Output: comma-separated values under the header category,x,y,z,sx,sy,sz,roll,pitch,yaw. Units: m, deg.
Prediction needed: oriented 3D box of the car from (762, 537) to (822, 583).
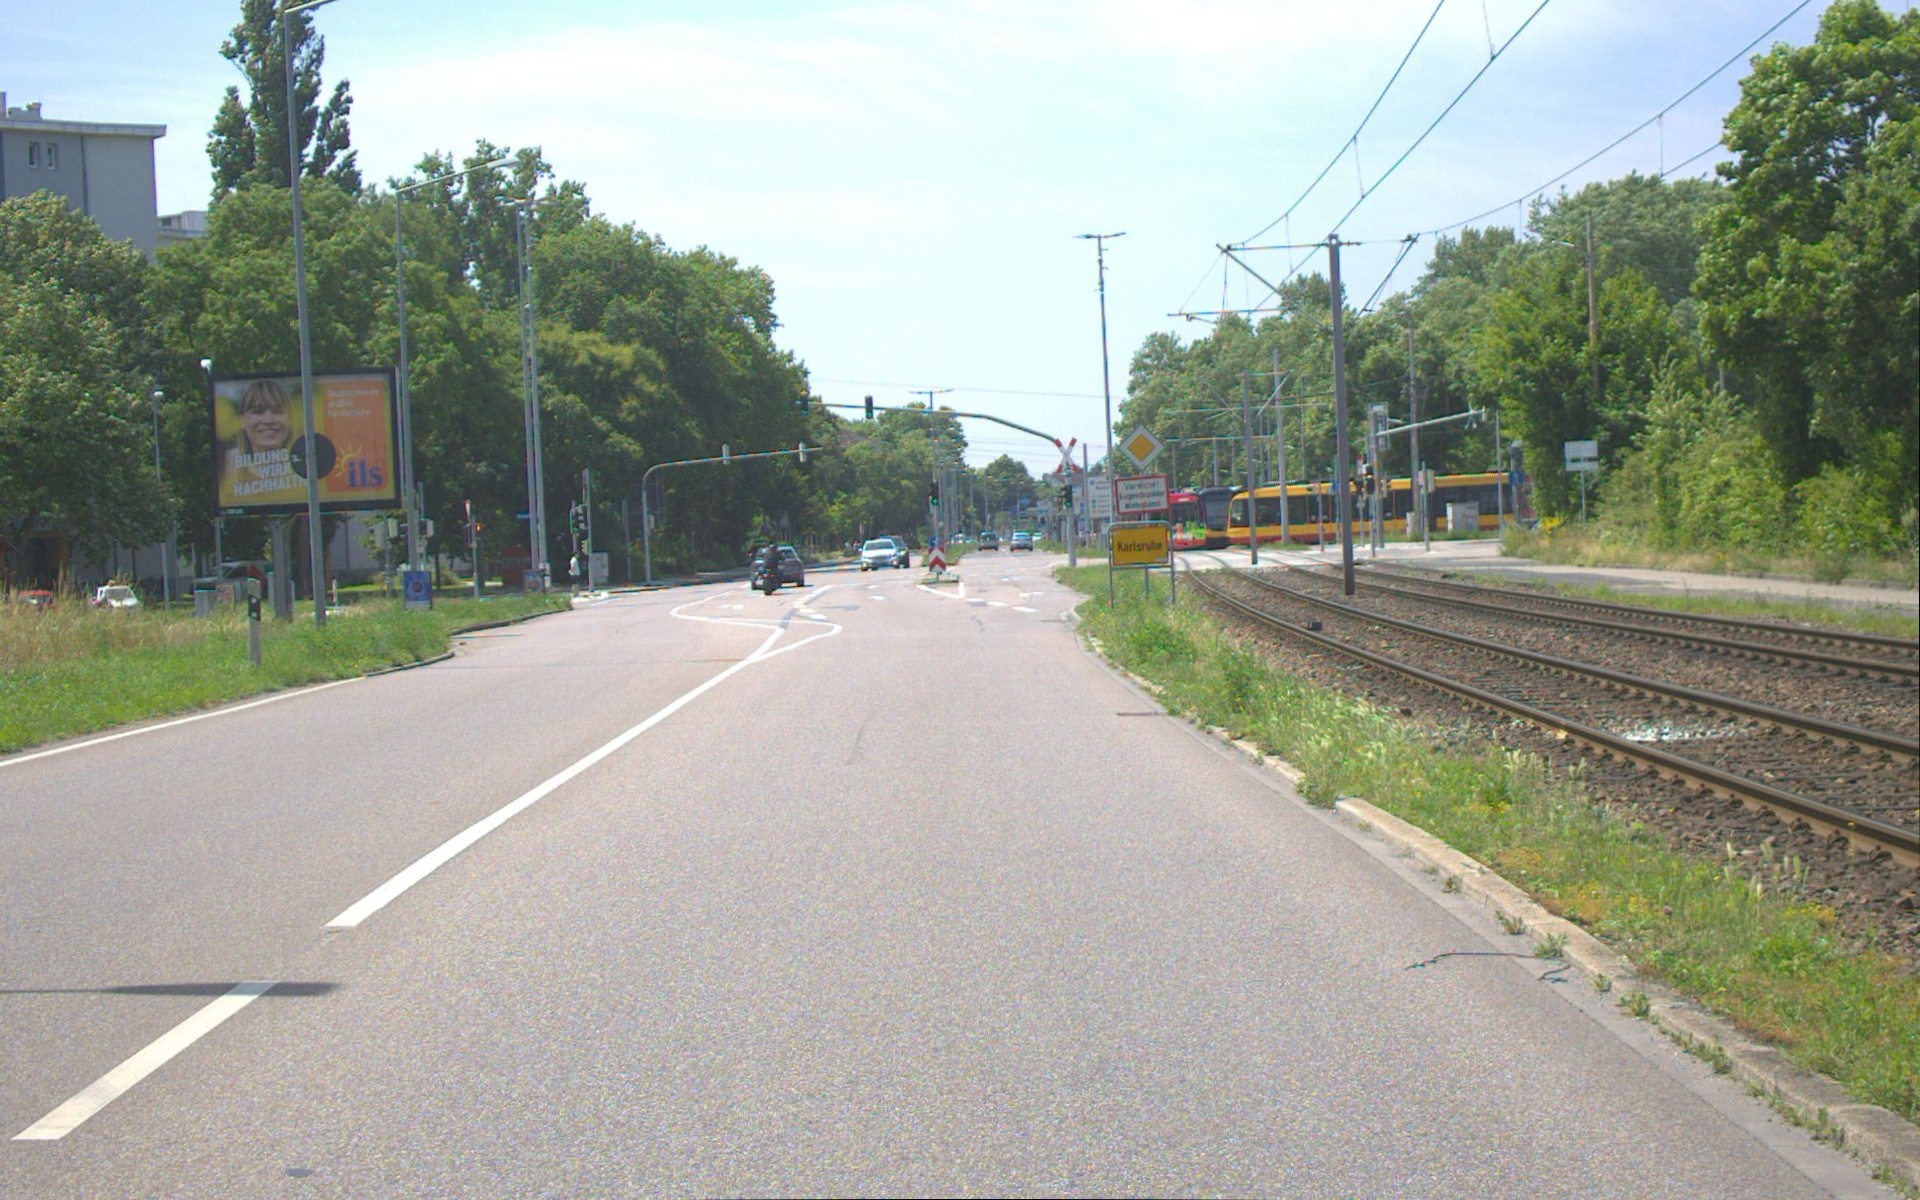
category,x,y,z,sx,sy,sz,roll,pitch,yaw
car,-5.749,-1.398,118.055,1.906,1.493,4.630,-1,1,-1

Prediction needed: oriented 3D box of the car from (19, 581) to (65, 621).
category,x,y,z,sx,sy,sz,roll,pitch,yaw
car,-35.375,0.024,132.437,1.617,1.459,4.001,-2,1,-15

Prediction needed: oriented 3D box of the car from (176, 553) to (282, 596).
category,x,y,z,sx,sy,sz,roll,pitch,yaw
car,-33.781,-1.189,158.916,1.790,1.762,4.538,-2,1,41

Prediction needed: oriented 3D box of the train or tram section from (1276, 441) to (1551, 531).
category,x,y,z,sx,sy,sz,roll,pitch,yaw
train or tram section,23.767,-5.930,180.746,14.016,3.906,2.919,-2,-2,27

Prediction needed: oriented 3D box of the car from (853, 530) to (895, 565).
category,x,y,z,sx,sy,sz,roll,pitch,yaw
car,-4.156,-2.547,166.181,1.784,1.623,3.865,-3,1,1

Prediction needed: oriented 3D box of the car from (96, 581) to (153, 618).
category,x,y,z,sx,sy,sz,roll,pitch,yaw
car,-32.574,-0.031,133.961,1.624,1.375,4.001,-2,1,-21

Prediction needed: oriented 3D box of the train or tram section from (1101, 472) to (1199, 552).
category,x,y,z,sx,sy,sz,roll,pitch,yaw
train or tram section,10.860,-5.007,197.809,2.913,3.799,13.076,-1,-2,-9

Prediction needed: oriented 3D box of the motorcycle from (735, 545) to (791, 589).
category,x,y,z,sx,sy,sz,roll,pitch,yaw
motorcycle,-5.838,-0.995,102.152,0.847,1.251,2.447,-1,1,16

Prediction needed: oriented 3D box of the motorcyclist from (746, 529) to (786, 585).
category,x,y,z,sx,sy,sz,roll,pitch,yaw
motorcyclist,-5.784,-1.291,102.330,0.790,1.637,1.210,-1,1,16

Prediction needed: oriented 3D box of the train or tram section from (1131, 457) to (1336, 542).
category,x,y,z,sx,sy,sz,roll,pitch,yaw
train or tram section,14.813,-5.414,187.719,2.915,3.799,13.452,0,-2,-37
